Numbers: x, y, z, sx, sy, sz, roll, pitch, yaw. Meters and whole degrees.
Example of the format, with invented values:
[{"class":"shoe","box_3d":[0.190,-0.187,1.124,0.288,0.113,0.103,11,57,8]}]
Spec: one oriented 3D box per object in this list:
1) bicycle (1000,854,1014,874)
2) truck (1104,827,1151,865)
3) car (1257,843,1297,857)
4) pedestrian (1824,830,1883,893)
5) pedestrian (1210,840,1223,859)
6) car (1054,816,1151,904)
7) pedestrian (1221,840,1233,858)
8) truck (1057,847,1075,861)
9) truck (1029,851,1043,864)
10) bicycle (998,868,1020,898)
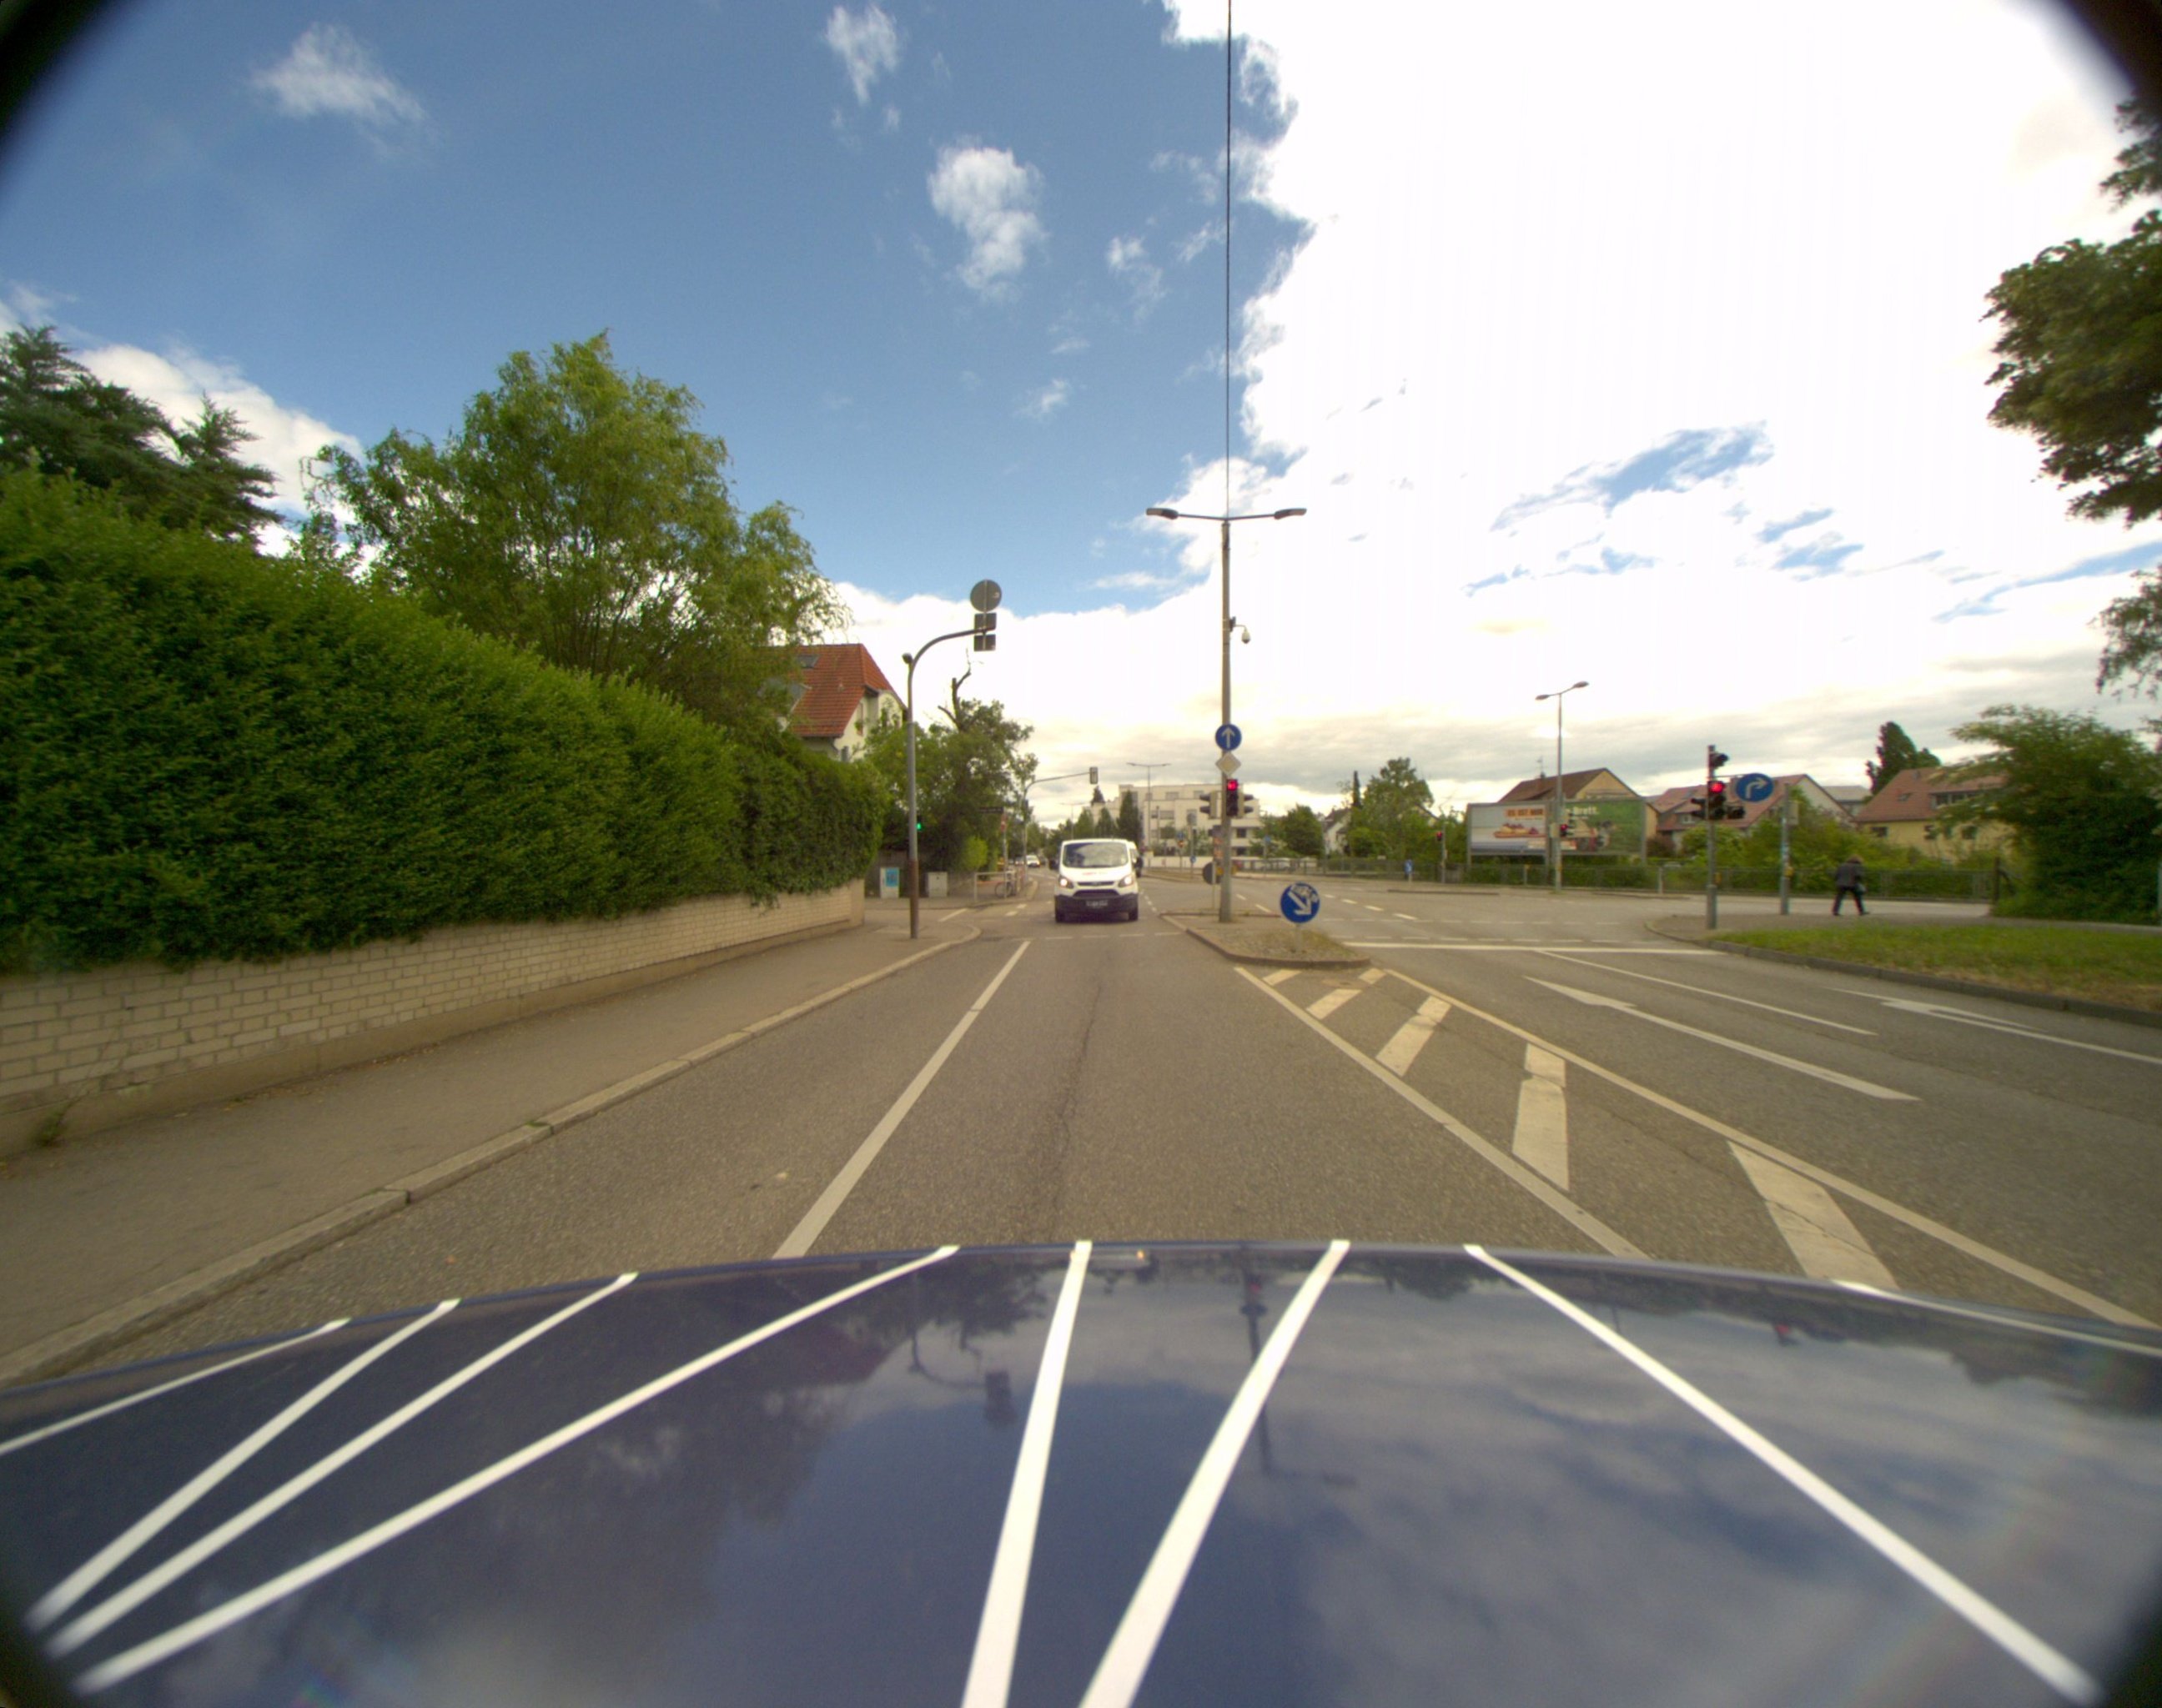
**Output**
[{"class":"bicycle","box_3d":[-5.810,0.775,59.869,0.894,1.501,2.782,4,0,-3]},{"class":"truck","box_3d":[3.350,-0.560,55.838,2.038,2.555,6.051,1,0,-10]},{"class":"car","box_3d":[22.717,-0.467,87.914,4.117,1.526,1.651,2,0,37]},{"class":"pedestrian","box_3d":[17.983,0.167,17.701,0.776,1.400,0.599,-2,4,-10]},{"class":"pedestrian","box_3d":[11.914,-0.426,66.782,0.658,1.624,1.069,-2,1,-14]},{"class":"car","box_3d":[0.384,0.135,19.674,2.076,1.956,5.555,0,0,-3]},{"class":"pedestrian","box_3d":[12.870,-0.433,66.915,0.658,1.624,0.832,-2,1,-14]},{"class":"truck","box_3d":[-2.447,-0.007,124.006,2.132,2.251,6.800,0,0,-8]},{"class":"truck","box_3d":[-6.500,0.476,109.777,1.616,1.780,3.996,1,0,-10]},{"class":"bicycle","box_3d":[-2.567,1.024,27.162,0.629,1.022,1.504,-1,0,0]}]
